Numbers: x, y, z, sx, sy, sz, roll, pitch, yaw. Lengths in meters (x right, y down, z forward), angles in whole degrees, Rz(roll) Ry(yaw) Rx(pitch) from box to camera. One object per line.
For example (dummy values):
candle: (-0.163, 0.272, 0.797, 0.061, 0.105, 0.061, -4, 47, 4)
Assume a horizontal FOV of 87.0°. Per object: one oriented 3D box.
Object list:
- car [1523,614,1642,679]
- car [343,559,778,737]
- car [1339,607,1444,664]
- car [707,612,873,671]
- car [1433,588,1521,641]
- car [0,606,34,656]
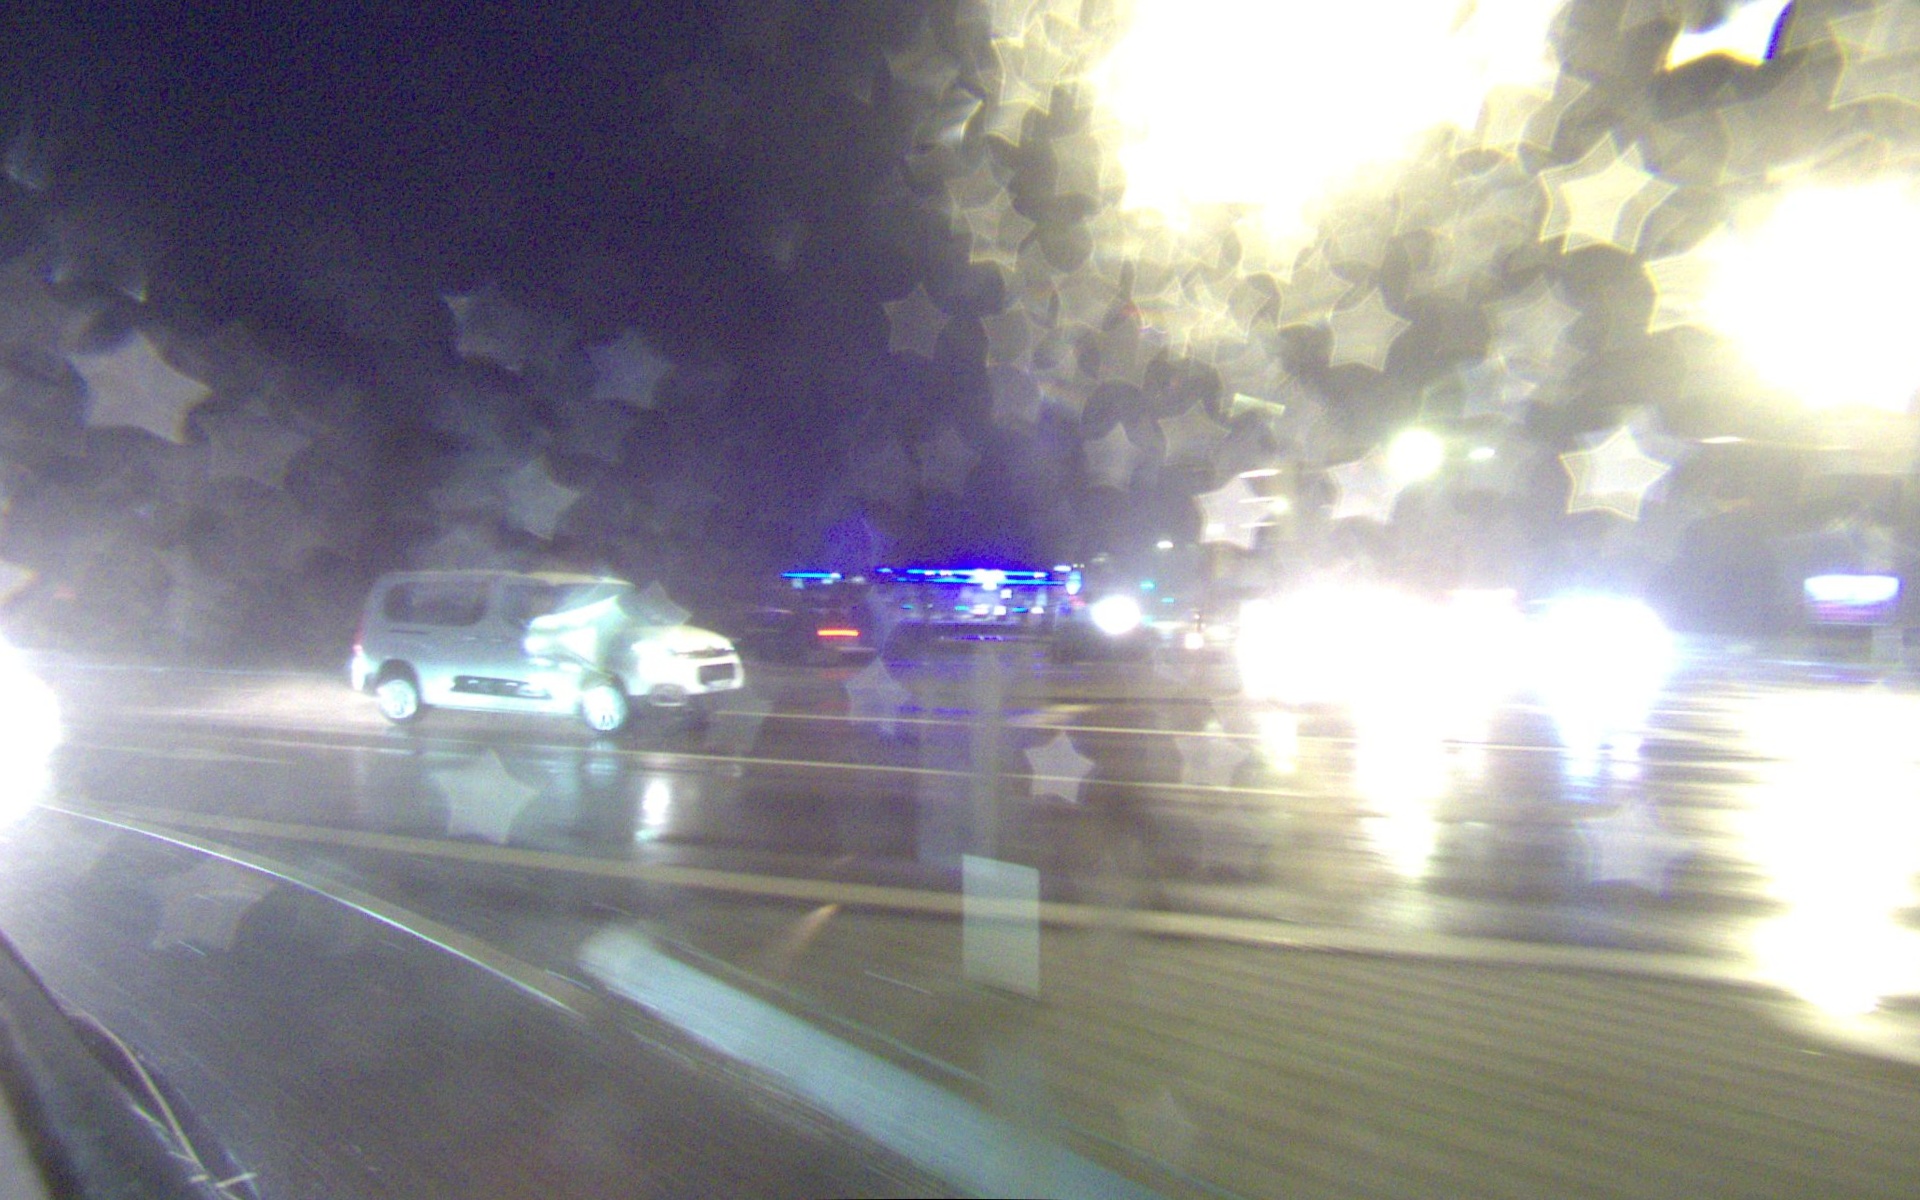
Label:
car: (20.362, 1.457, 33.317, 1.647, 1.867, 4.140, 0, 1, 5)
car: (-4.699, 0.559, 11.992, 4.685, 1.807, 1.987, -1, -2, 20)
car: (14.091, 1.107, 33.324, 1.934, 1.645, 4.252, 0, 1, 5)
car: (-4.481, 1.074, 26.854, 3.993, 1.425, 1.719, -1, 1, 17)
car: (21.120, 0.539, 41.522, 1.772, 2.039, 4.140, 0, 1, 5)
car: (-36.947, 1.154, 38.096, 4.772, 1.805, 2.013, -1, -1, 34)
